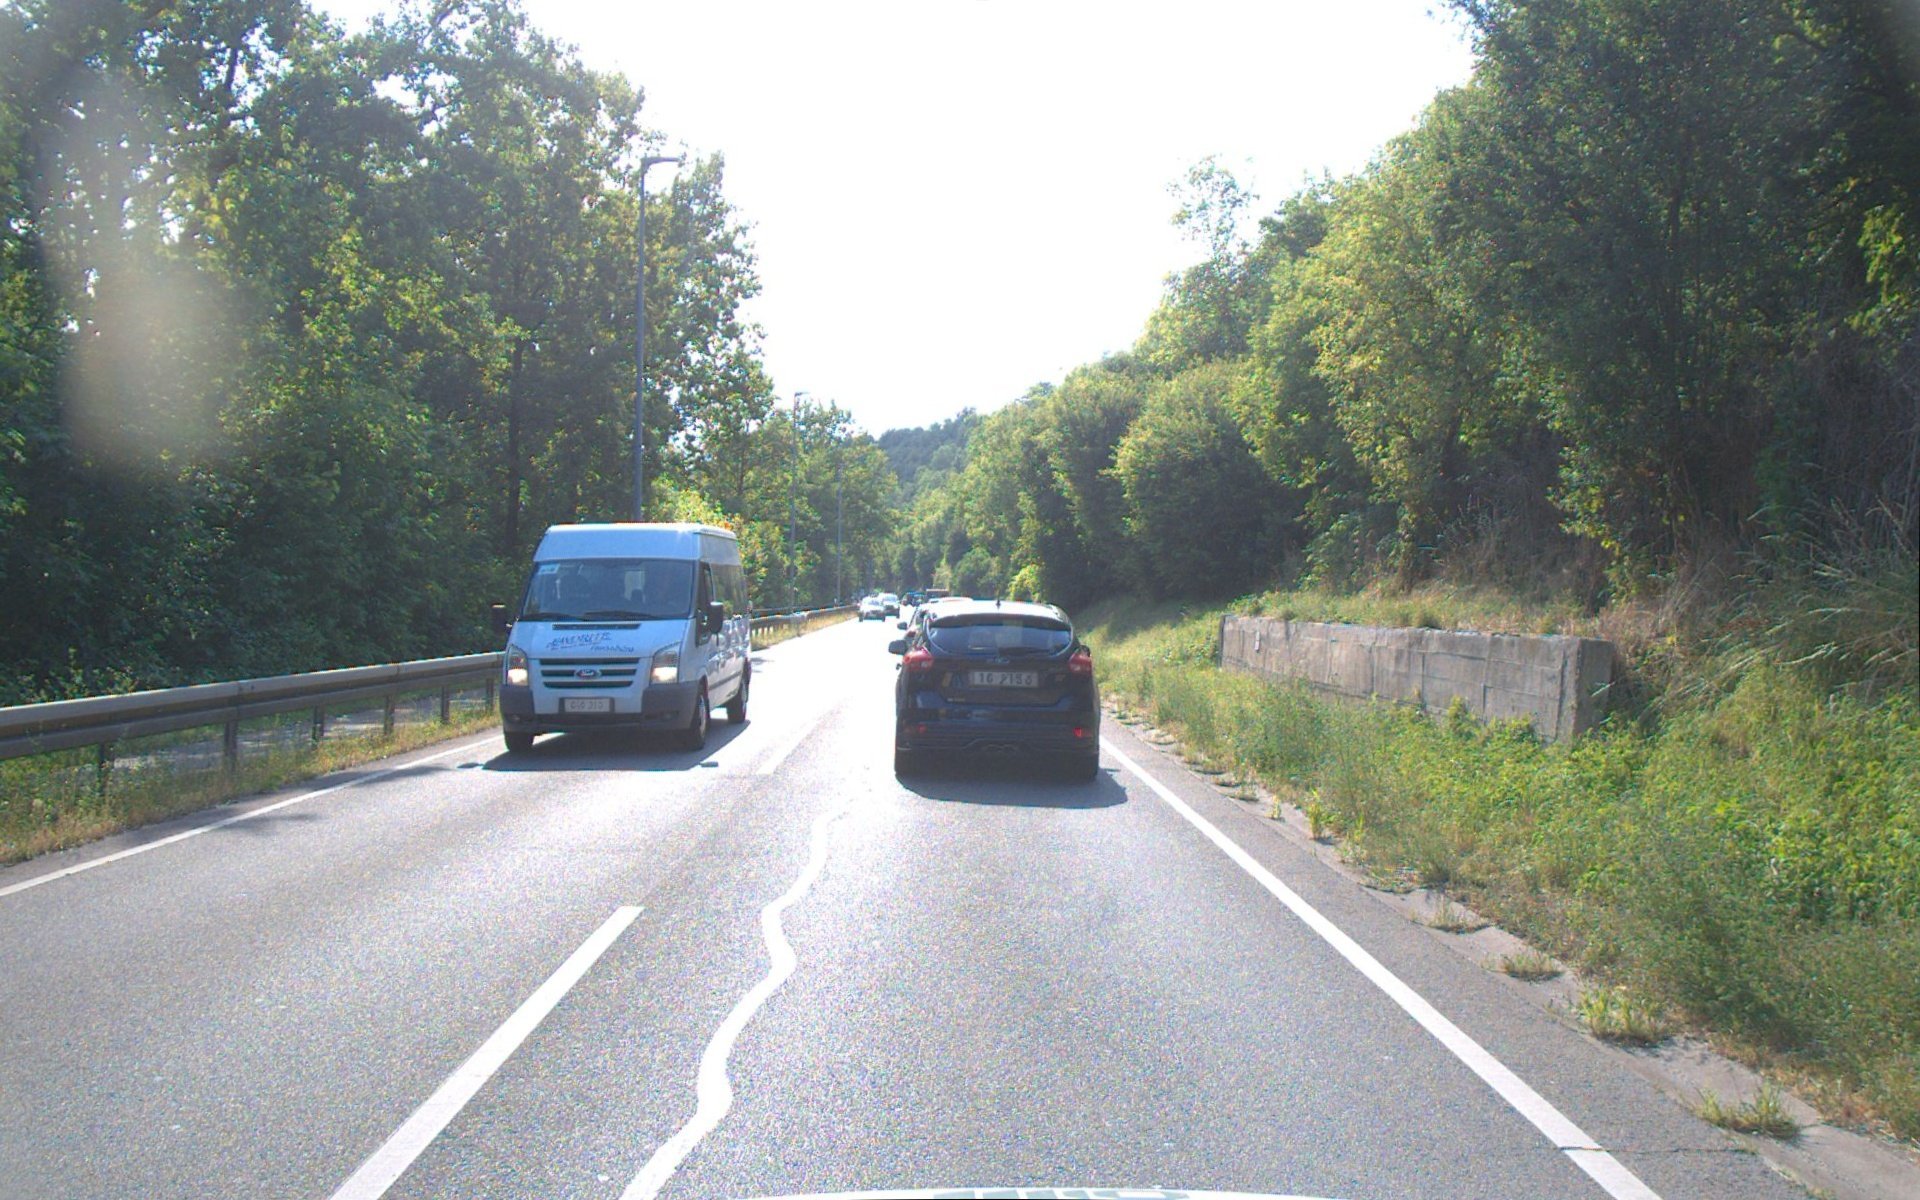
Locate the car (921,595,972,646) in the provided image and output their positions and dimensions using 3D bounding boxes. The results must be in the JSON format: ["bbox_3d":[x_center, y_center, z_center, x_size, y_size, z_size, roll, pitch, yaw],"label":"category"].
[{"bbox_3d":[-0.449,0.636,54.101,1.597,1.624,3.999,0,0,-1],"label":"car"}]

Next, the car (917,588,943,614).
[{"bbox_3d":[-2.100,0.083,117.645,1.825,1.812,3.999,0,0,-1],"label":"car"}]

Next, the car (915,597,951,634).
[{"bbox_3d":[-1.227,0.664,74.890,1.597,1.624,3.999,0,0,-1],"label":"car"}]

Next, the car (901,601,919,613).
[{"bbox_3d":[-6.927,0.938,229.149,1.956,1.545,3.992,0,0,-8],"label":"car"}]

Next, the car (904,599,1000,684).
[{"bbox_3d":[-0.118,0.707,30.307,1.627,1.443,4.000,0,0,0],"label":"car"}]

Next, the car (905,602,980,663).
[{"bbox_3d":[-0.436,0.766,40.947,1.768,1.416,3.999,0,0,-1],"label":"car"}]

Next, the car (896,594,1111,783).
[{"bbox_3d":[0.319,0.713,15.224,1.704,1.482,3.999,1,0,-1],"label":"car"}]

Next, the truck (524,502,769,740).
[{"bbox_3d":[-3.535,0.205,19.828,2.016,2.427,5.870,0,0,-2],"label":"truck"}]

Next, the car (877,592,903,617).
[{"bbox_3d":[-4.978,0.343,118.017,1.712,1.747,4.220,0,0,-1],"label":"car"}]

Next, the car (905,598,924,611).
[{"bbox_3d":[-5.683,0.527,207.840,1.956,1.545,3.992,0,0,-8],"label":"car"}]

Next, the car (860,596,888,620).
[{"bbox_3d":[-5.316,0.489,102.565,1.647,1.467,3.999,0,0,-1],"label":"car"}]

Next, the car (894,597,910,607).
[{"bbox_3d":[-8.459,0.296,241.971,1.956,1.545,3.992,0,0,-8],"label":"car"}]
